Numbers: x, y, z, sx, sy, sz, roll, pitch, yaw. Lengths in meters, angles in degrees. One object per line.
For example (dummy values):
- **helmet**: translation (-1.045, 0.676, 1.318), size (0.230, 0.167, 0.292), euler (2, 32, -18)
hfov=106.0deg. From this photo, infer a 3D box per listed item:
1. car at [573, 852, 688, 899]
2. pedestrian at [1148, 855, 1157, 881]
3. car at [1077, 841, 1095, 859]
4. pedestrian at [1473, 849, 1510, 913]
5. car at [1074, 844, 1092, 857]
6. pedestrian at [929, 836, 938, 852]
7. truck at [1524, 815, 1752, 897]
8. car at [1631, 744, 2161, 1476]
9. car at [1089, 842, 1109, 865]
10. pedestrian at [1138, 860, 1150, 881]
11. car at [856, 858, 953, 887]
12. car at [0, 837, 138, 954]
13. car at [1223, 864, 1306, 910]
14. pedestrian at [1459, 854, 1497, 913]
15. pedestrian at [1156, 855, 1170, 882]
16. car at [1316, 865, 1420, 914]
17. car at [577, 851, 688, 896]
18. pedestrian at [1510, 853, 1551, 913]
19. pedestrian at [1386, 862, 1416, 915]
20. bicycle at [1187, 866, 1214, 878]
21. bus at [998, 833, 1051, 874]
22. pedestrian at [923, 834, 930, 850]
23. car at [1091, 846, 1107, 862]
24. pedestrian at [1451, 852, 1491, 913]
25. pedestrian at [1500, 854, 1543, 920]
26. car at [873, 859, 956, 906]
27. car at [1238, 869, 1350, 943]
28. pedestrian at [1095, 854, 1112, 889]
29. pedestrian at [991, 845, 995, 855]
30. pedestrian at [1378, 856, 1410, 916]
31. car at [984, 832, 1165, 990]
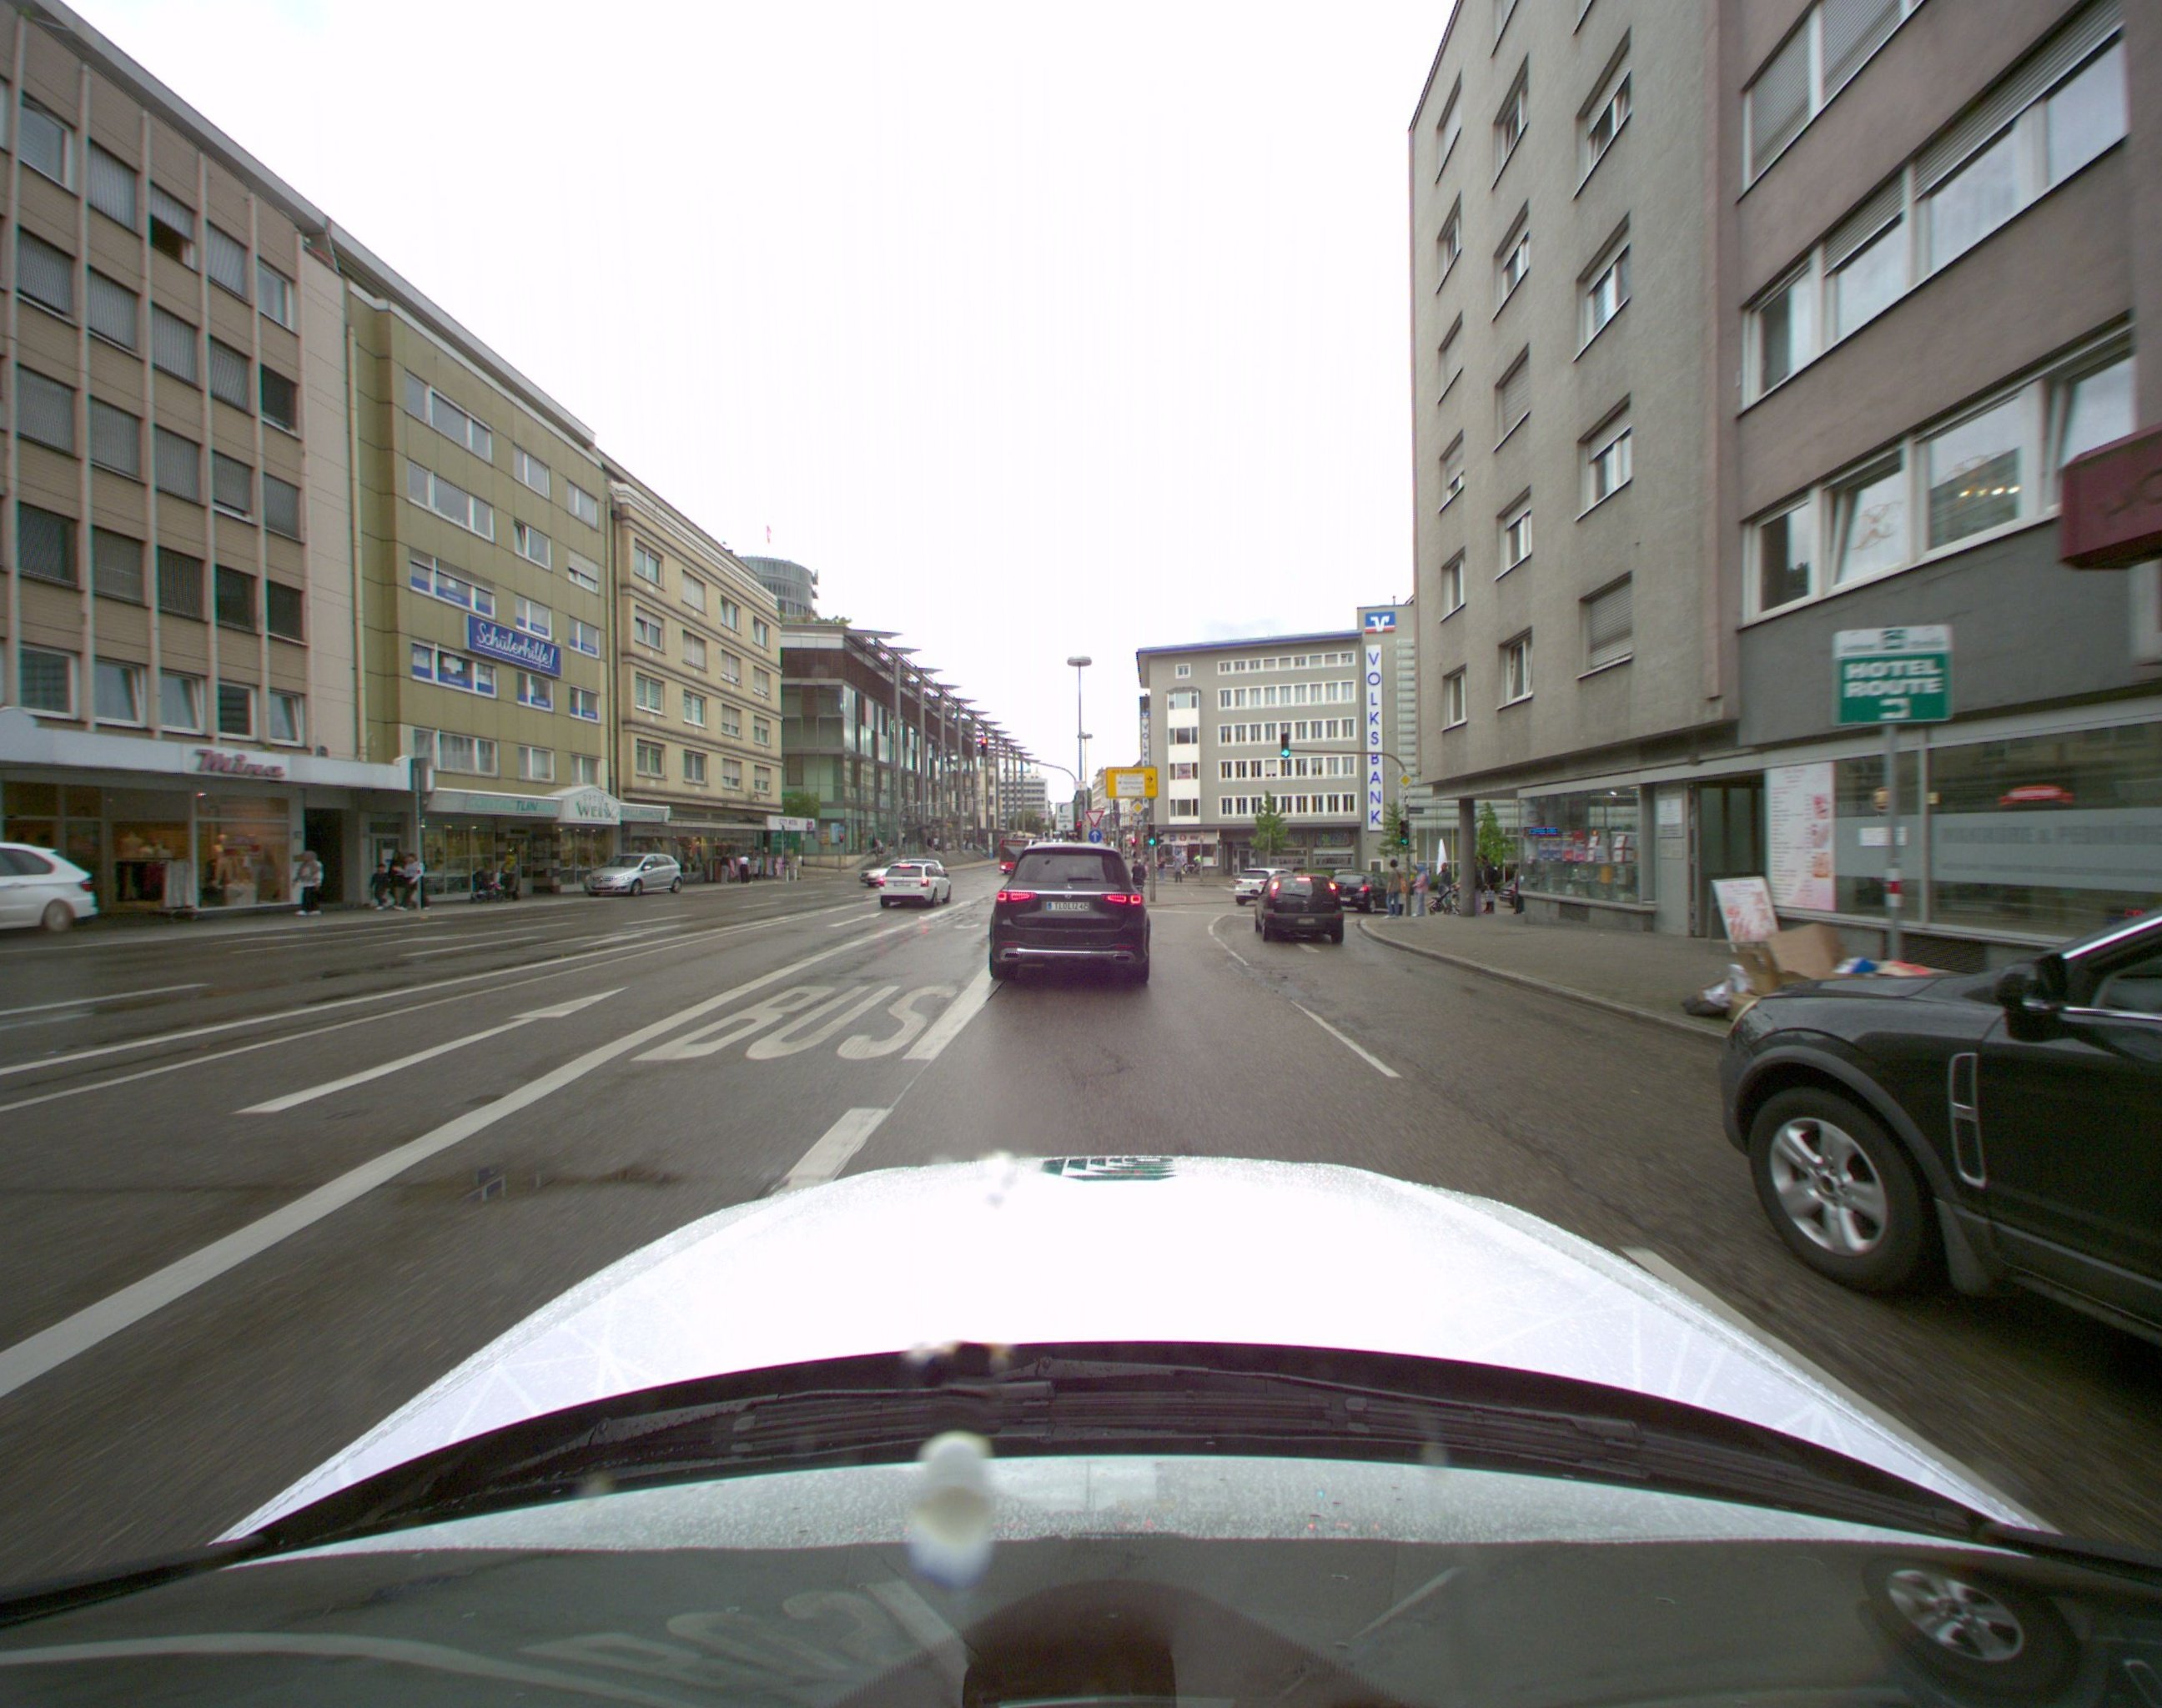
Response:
- **car**: translation (-17.053, 0.765, 31.105), size (1.841, 1.550, 4.401), euler (2, 1, 1)
- **pedestrian**: translation (4.574, 0.899, 52.028), size (0.566, 1.669, 0.503), euler (1, 0, 8)
- **car**: translation (1.041, -0.706, 161.809), size (2.428, 3.465, 6.173), euler (2, 0, 12)
- **pedestrian**: translation (12.552, 0.835, 24.917), size (0.813, 1.932, 0.734), euler (-1, -2, 10)
- **car**: translation (0.300, -0.532, 119.651), size (2.414, 1.780, 5.156), euler (2, 0, 1)
- **pedestrian**: translation (-16.320, -1.112, 90.099), size (0.826, 1.713, 0.801), euler (1, 0, -4)
- **truck**: translation (31.309, 0.091, 46.160), size (10.684, 4.333, 2.860), euler (1, 0, 5)
- **car**: translation (3.571, 0.606, 1.710), size (1.901, 1.785, 4.301), euler (-1, 1, -1)
- **car**: translation (2.375, -0.101, 109.612), size (2.437, 2.957, 6.151), euler (2, 0, 0)
- **pedestrian**: translation (4.013, 1.042, 52.095), size (0.629, 1.339, 0.587), euler (2, 0, -4)
- **car**: translation (-9.407, 0.970, 43.534), size (4.774, 1.446, 1.772), euler (1, 0, -36)
- **car**: translation (-17.718, 0.627, 11.933), size (1.841, 1.827, 4.967), euler (1, 0, 3)
- **car**: translation (7.433, 1.259, 32.730), size (1.931, 1.573, 4.025), euler (3, 2, 33)
- **pedestrian**: translation (11.746, 0.871, 24.119), size (0.830, 1.723, 0.619), euler (-1, -3, 10)
- **pedestrian**: translation (5.236, 0.915, 51.990), size (0.776, 1.689, 0.640), euler (2, 0, 10)
- **car**: translation (10.668, 1.267, 30.155), size (4.022, 1.573, 1.933), euler (0, 2, -43)
- **car**: translation (-17.007, 0.703, 31.157), size (1.692, 1.563, 4.206), euler (1, 0, 4)
- **pedestrian**: translation (12.717, 0.822, 23.074), size (0.612, 1.637, 0.839), euler (-4, -4, 6)
- **pedestrian**: translation (10.186, 1.114, 25.964), size (0.537, 1.638, 0.838), euler (-3, -4, 1)
- **bicycle**: translation (10.053, 1.543, 68.578), size (2.121, 0.993, 0.697), euler (0, -1, 15)
- **bus**: translation (-4.970, 0.002, 76.473), size (2.909, 3.321, 18.488), euler (1, 0, 2)
- **pedestrian**: translation (-17.078, -1.317, 89.975), size (0.679, 1.713, 0.849), euler (1, 0, -4)
- **car**: translation (2.256, 0.001, 103.049), size (1.855, 1.826, 4.102), euler (2, 0, -1)
- **pedestrian**: translation (12.299, 0.909, 25.695), size (0.831, 1.865, 0.659), euler (-3, -4, 6)
- **pedestrian**: translation (12.881, 0.959, 23.841), size (0.666, 1.866, 0.833), euler (2, 0, -19)
- **car**: translation (-5.568, 0.912, 27.808), size (1.786, 1.415, 4.632), euler (0, 0, 1)
- **car**: translation (4.551, 1.053, 17.898), size (1.709, 1.420, 3.774), euler (1, -1, 4)
- **pedestrian**: translation (1.128, 0.874, 40.397), size (0.752, 1.692, 0.694), euler (2, -2, 6)
- **pedestrian**: translation (-11.938, -0.480, 110.561), size (0.507, 1.340, 0.421), euler (2, 0, 9)
- **pedestrian**: translation (8.983, 0.926, 23.375), size (0.620, 1.692, 0.787), euler (-3, -3, 37)
- **car**: translation (-0.136, 0.633, 11.764), size (2.082, 1.817, 4.789), euler (0, 0, -2)
